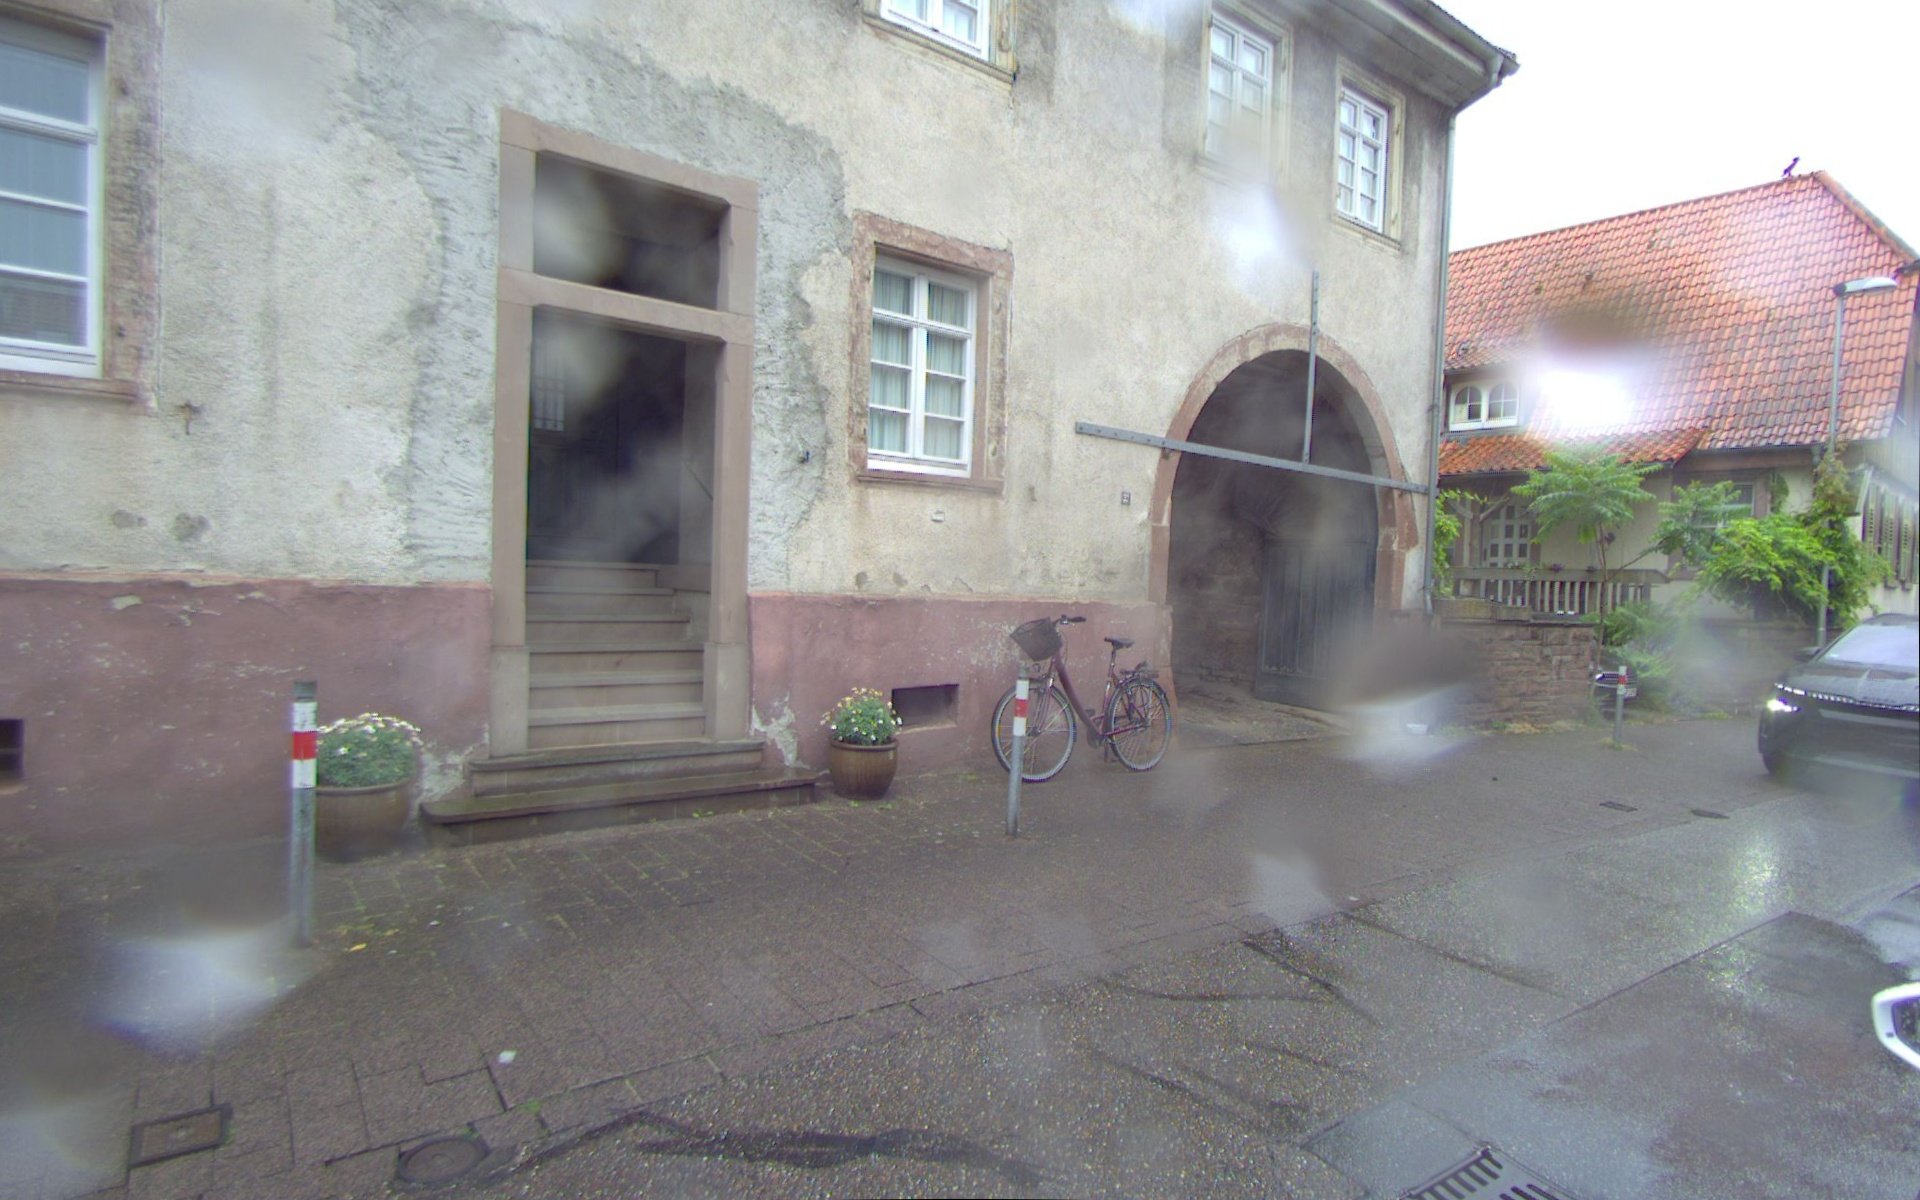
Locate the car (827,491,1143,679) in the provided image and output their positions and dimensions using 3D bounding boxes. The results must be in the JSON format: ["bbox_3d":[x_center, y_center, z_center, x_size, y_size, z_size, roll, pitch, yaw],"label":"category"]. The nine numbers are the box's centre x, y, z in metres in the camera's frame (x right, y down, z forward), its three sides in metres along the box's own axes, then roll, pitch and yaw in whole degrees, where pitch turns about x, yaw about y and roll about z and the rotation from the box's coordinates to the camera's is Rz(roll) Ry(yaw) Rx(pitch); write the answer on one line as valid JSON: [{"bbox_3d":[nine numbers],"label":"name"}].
[{"bbox_3d":[0.159,-0.302,13.524,1.869,1.957,4.194,6,3,-37],"label":"car"}]

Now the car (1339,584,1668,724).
[{"bbox_3d":[7.988,0.705,15.160,1.715,1.444,3.967,2,5,-30],"label":"car"}]

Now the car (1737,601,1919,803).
[{"bbox_3d":[9.275,0.888,9.583,4.199,1.576,1.819,2,1,-36],"label":"car"}]

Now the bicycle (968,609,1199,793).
[{"bbox_3d":[0.959,0.689,7.451,1.858,1.194,0.478,1,4,-38],"label":"bicycle"}]
